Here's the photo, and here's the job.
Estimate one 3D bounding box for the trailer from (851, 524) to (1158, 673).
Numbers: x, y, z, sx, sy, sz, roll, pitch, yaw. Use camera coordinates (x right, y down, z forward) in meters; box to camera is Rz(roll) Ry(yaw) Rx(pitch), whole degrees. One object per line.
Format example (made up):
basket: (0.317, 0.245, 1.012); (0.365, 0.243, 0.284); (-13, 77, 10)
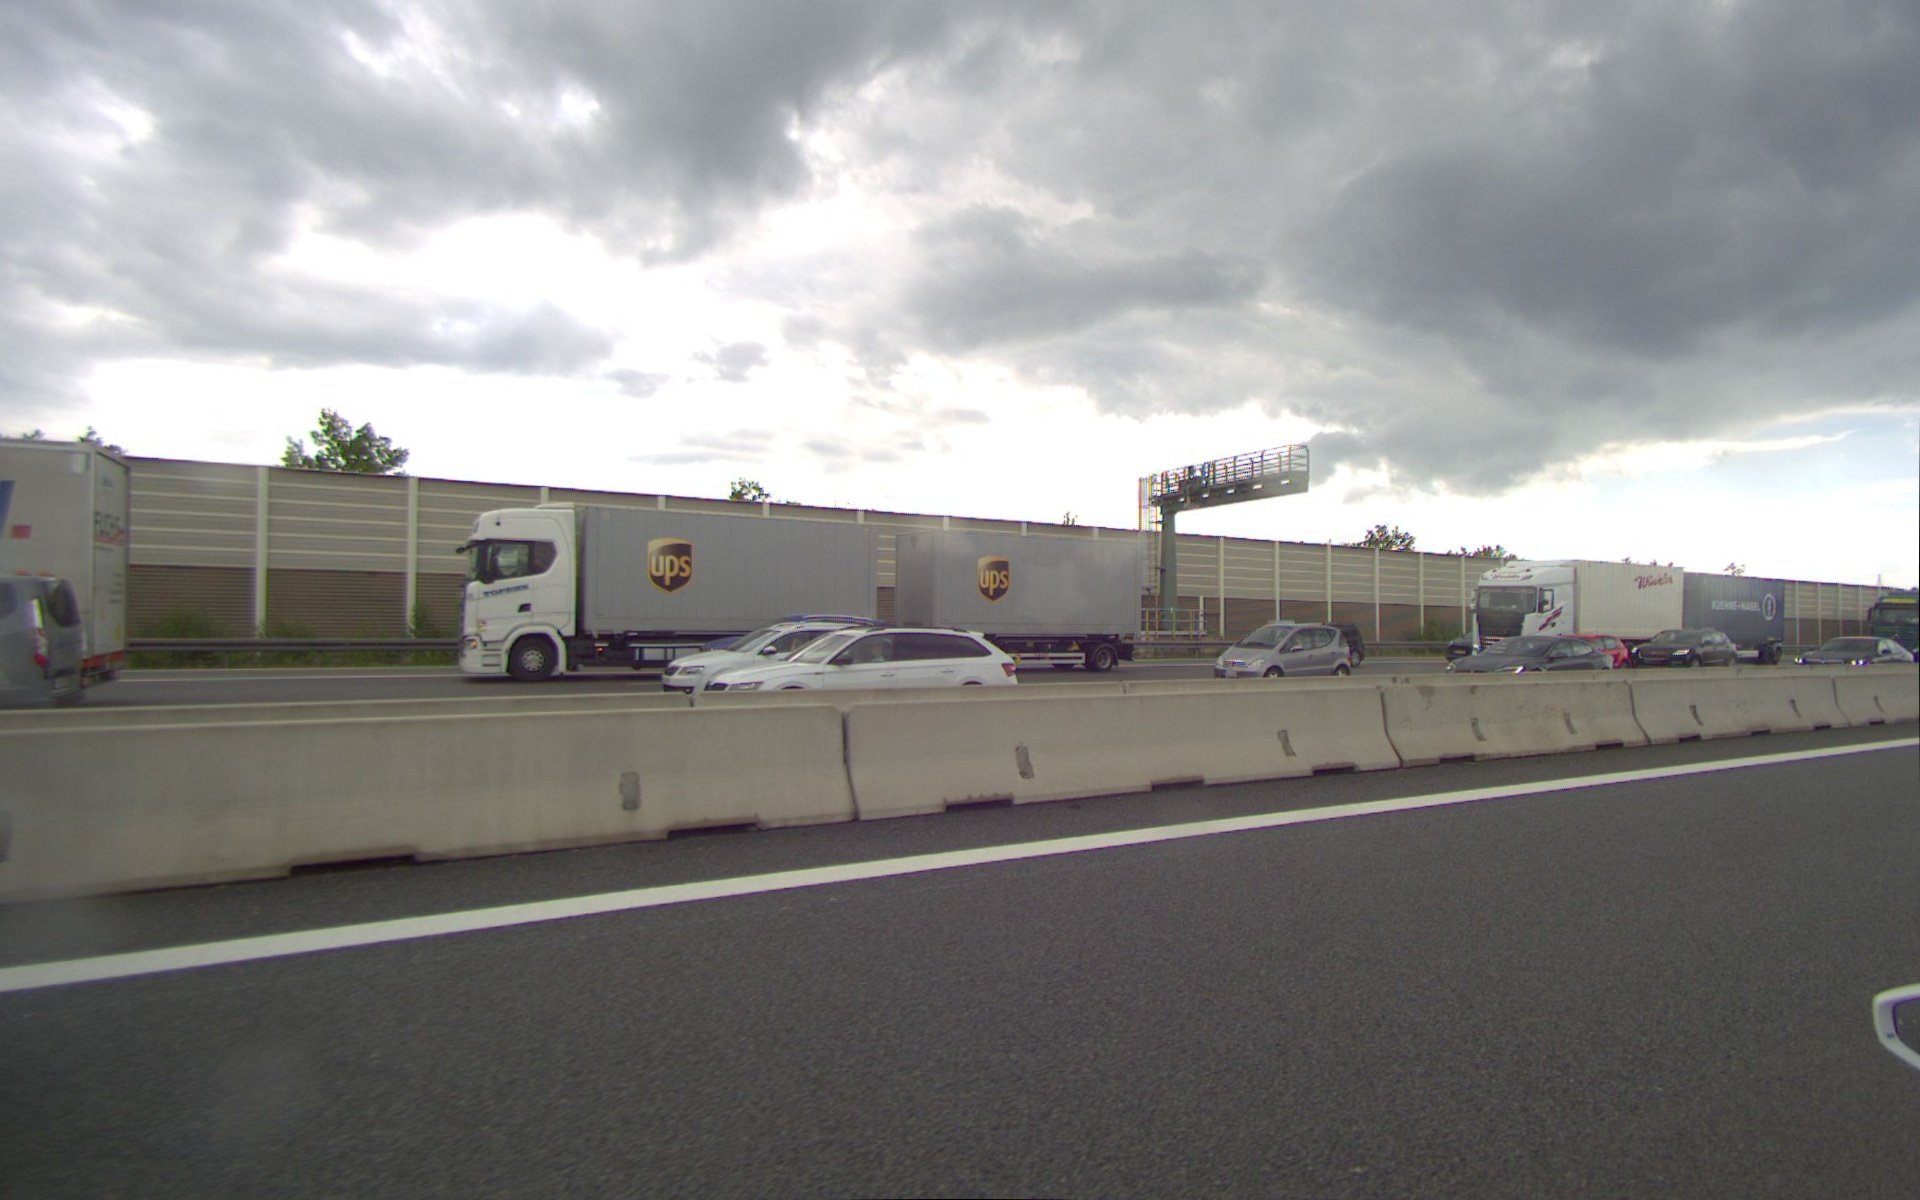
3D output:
trailer: (1.509, 0.070, 30.003); (9.175, 3.923, 2.709); (1, -1, -30)

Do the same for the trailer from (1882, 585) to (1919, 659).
trailer: (58.766, 1.421, 58.974); (14.283, 4.085, 2.748); (2, -1, -30)

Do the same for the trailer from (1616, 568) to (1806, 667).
trailer: (33.084, 0.813, 44.097); (9.997, 3.992, 2.918); (1, -1, -29)

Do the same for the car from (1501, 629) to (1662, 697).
car: (20.268, 1.990, 32.675); (5.740, 2.029, 2.051); (1, -1, -31)

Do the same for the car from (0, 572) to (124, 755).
car: (-13.659, 0.730, 11.950); (5.368, 2.187, 2.051); (1, -1, -30)

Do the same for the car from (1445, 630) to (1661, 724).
car: (14.471, 1.786, 24.415); (5.741, 2.029, 2.051); (1, -1, -31)

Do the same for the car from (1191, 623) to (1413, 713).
car: (8.705, 1.643, 25.361); (5.738, 2.029, 2.051); (1, -1, -30)

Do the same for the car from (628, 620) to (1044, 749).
car: (-1.714, 1.122, 14.758); (5.738, 1.585, 2.051); (1, -1, -30)

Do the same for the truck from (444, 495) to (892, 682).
truck: (-6.945, -0.132, 25.022); (10.377, 3.950, 2.674); (1, -1, -30)

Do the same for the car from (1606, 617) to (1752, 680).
car: (25.188, 1.667, 35.139); (5.740, 2.029, 2.051); (1, -1, -31)

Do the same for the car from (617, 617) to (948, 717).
car: (-3.222, 1.169, 18.746); (5.738, 1.621, 2.051); (1, -1, -30)

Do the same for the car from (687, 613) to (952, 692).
car: (-3.172, 1.167, 23.198); (5.738, 1.621, 2.051); (1, -1, -30)

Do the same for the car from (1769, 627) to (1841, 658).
car: (50.331, 2.501, 59.811); (4.162, 1.746, 2.051); (1, -1, -31)

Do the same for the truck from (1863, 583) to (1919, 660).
truck: (52.723, 1.217, 55.426); (5.658, 4.088, 2.732); (2, -1, -30)

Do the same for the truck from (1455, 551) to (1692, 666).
truck: (23.965, 0.423, 38.957); (10.932, 3.998, 2.925); (1, -1, -29)

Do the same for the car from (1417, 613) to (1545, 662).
car: (21.914, 1.568, 42.177); (5.740, 1.917, 2.051); (1, -1, -31)

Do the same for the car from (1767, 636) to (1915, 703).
car: (29.326, 2.238, 33.391); (5.740, 2.029, 2.051); (1, -1, -31)

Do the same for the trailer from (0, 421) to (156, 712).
trailer: (-19.687, -0.605, 12.945); (14.147, 4.216, 3.044); (1, -1, -30)

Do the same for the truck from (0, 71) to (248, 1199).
truck: (-5.248, 0.151, 1.116); (7.069, 2.472, 2.294); (2, -1, -32)
